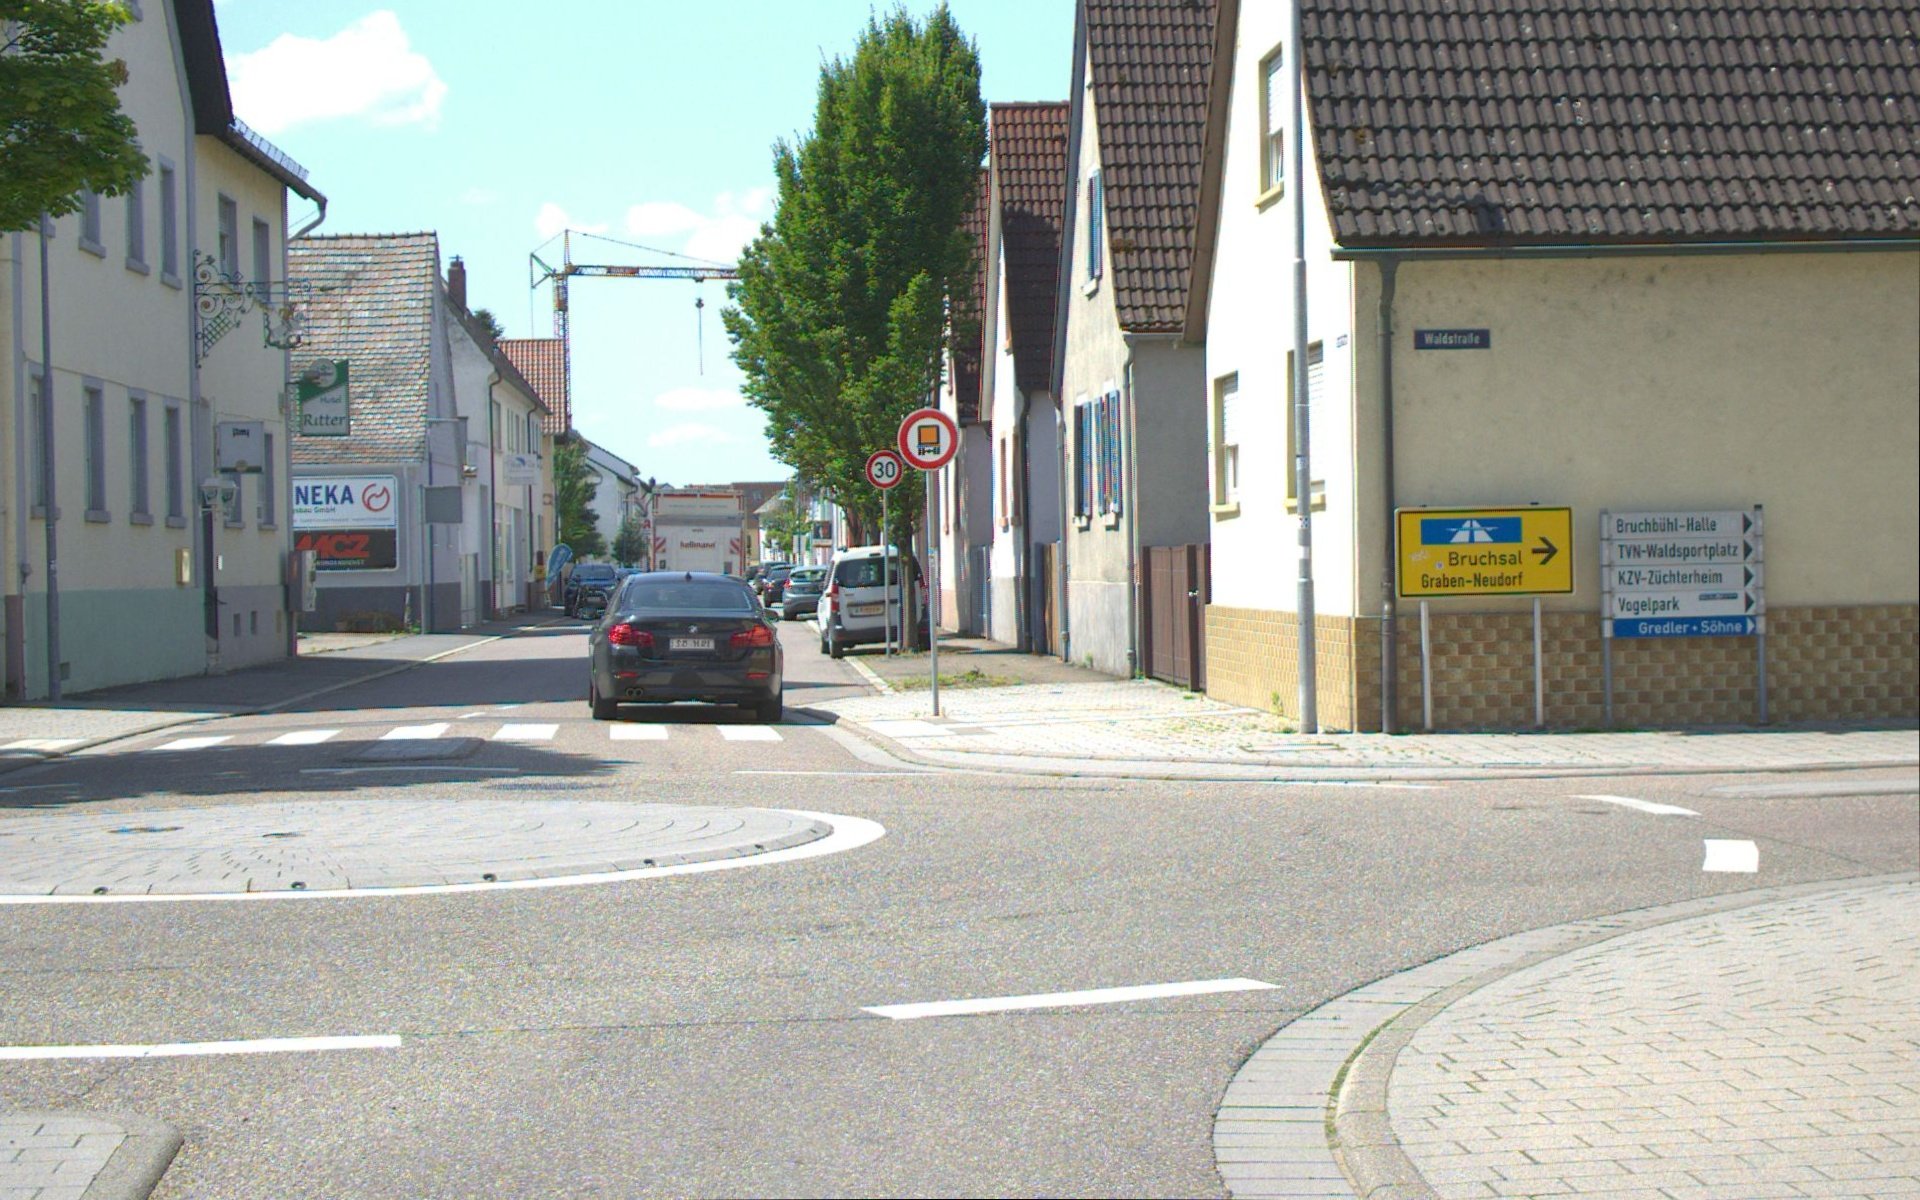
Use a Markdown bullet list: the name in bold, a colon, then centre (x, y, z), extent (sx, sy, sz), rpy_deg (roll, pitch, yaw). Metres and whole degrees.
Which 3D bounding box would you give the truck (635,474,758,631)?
- **truck**: centre (-7.470, -1.304, 98.547), extent (3.144, 4.236, 9.303), rpy_deg (1, 0, -3)

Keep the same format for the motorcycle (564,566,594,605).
- **motorcycle**: centre (-11.613, -0.436, 104.903), extent (0.846, 1.166, 2.469), rpy_deg (1, 0, -5)

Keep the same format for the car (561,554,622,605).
- **car**: centre (-11.653, -0.669, 108.903), extent (1.809, 1.583, 4.001), rpy_deg (0, 1, -4)

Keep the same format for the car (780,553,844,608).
- **car**: centre (-4.063, -0.553, 94.838), extent (1.719, 1.456, 4.157), rpy_deg (0, 1, -2)

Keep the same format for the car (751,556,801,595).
- **car**: centre (-6.616, -0.888, 123.230), extent (1.719, 1.350, 4.157), rpy_deg (0, 1, -4)

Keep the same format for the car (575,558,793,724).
- **car**: centre (-2.877, 0.359, 35.035), extent (1.901, 1.558, 4.477), rpy_deg (0, 1, -9)

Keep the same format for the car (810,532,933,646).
- **car**: centre (-1.527, -0.205, 58.094), extent (1.719, 1.784, 4.145), rpy_deg (-2, 1, -5)
